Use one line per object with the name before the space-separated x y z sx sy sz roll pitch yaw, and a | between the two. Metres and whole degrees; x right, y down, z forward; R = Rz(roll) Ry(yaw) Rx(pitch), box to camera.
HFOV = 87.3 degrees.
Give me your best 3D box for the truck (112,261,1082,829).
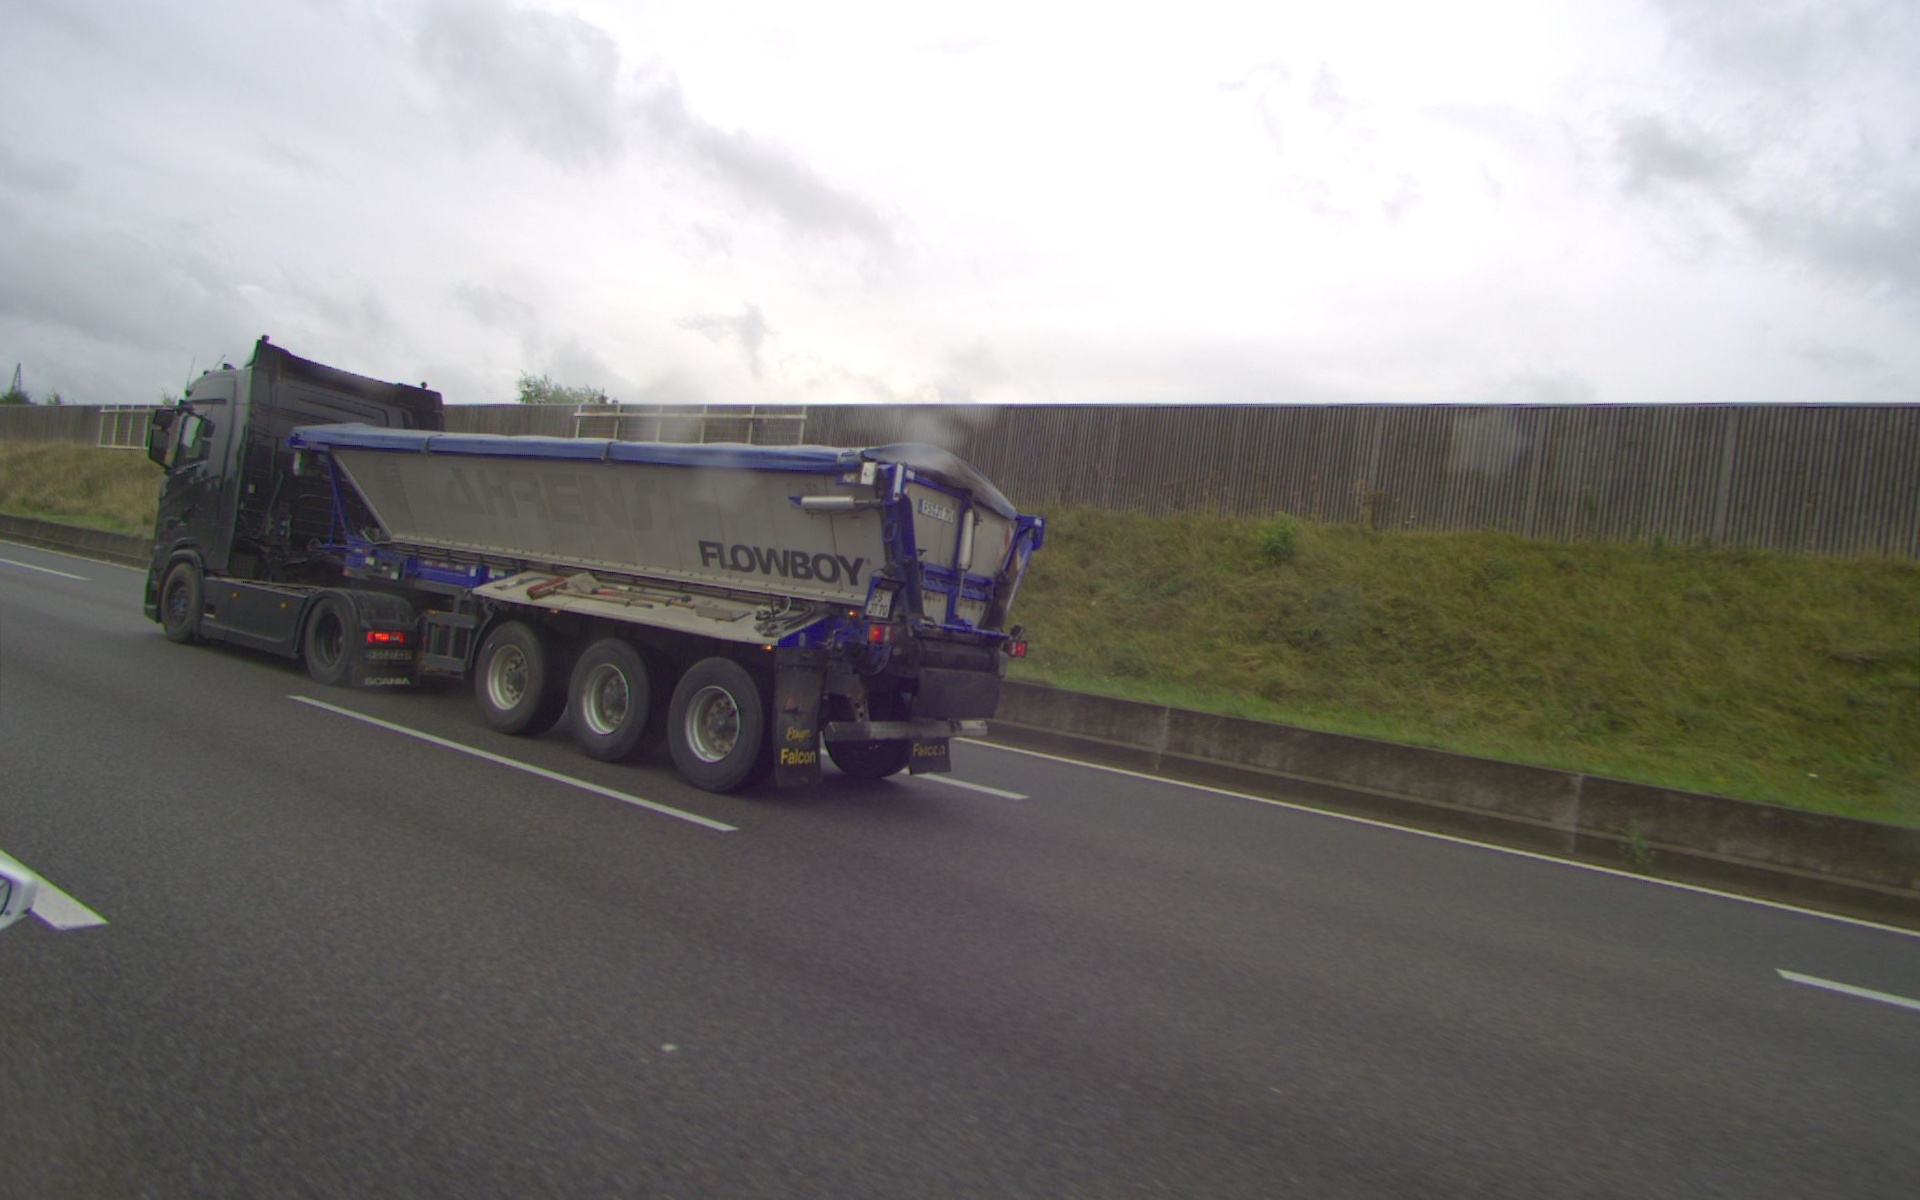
truck | -5.115 -0.855 11.486 12.502 3.995 2.819 7 -2 31
